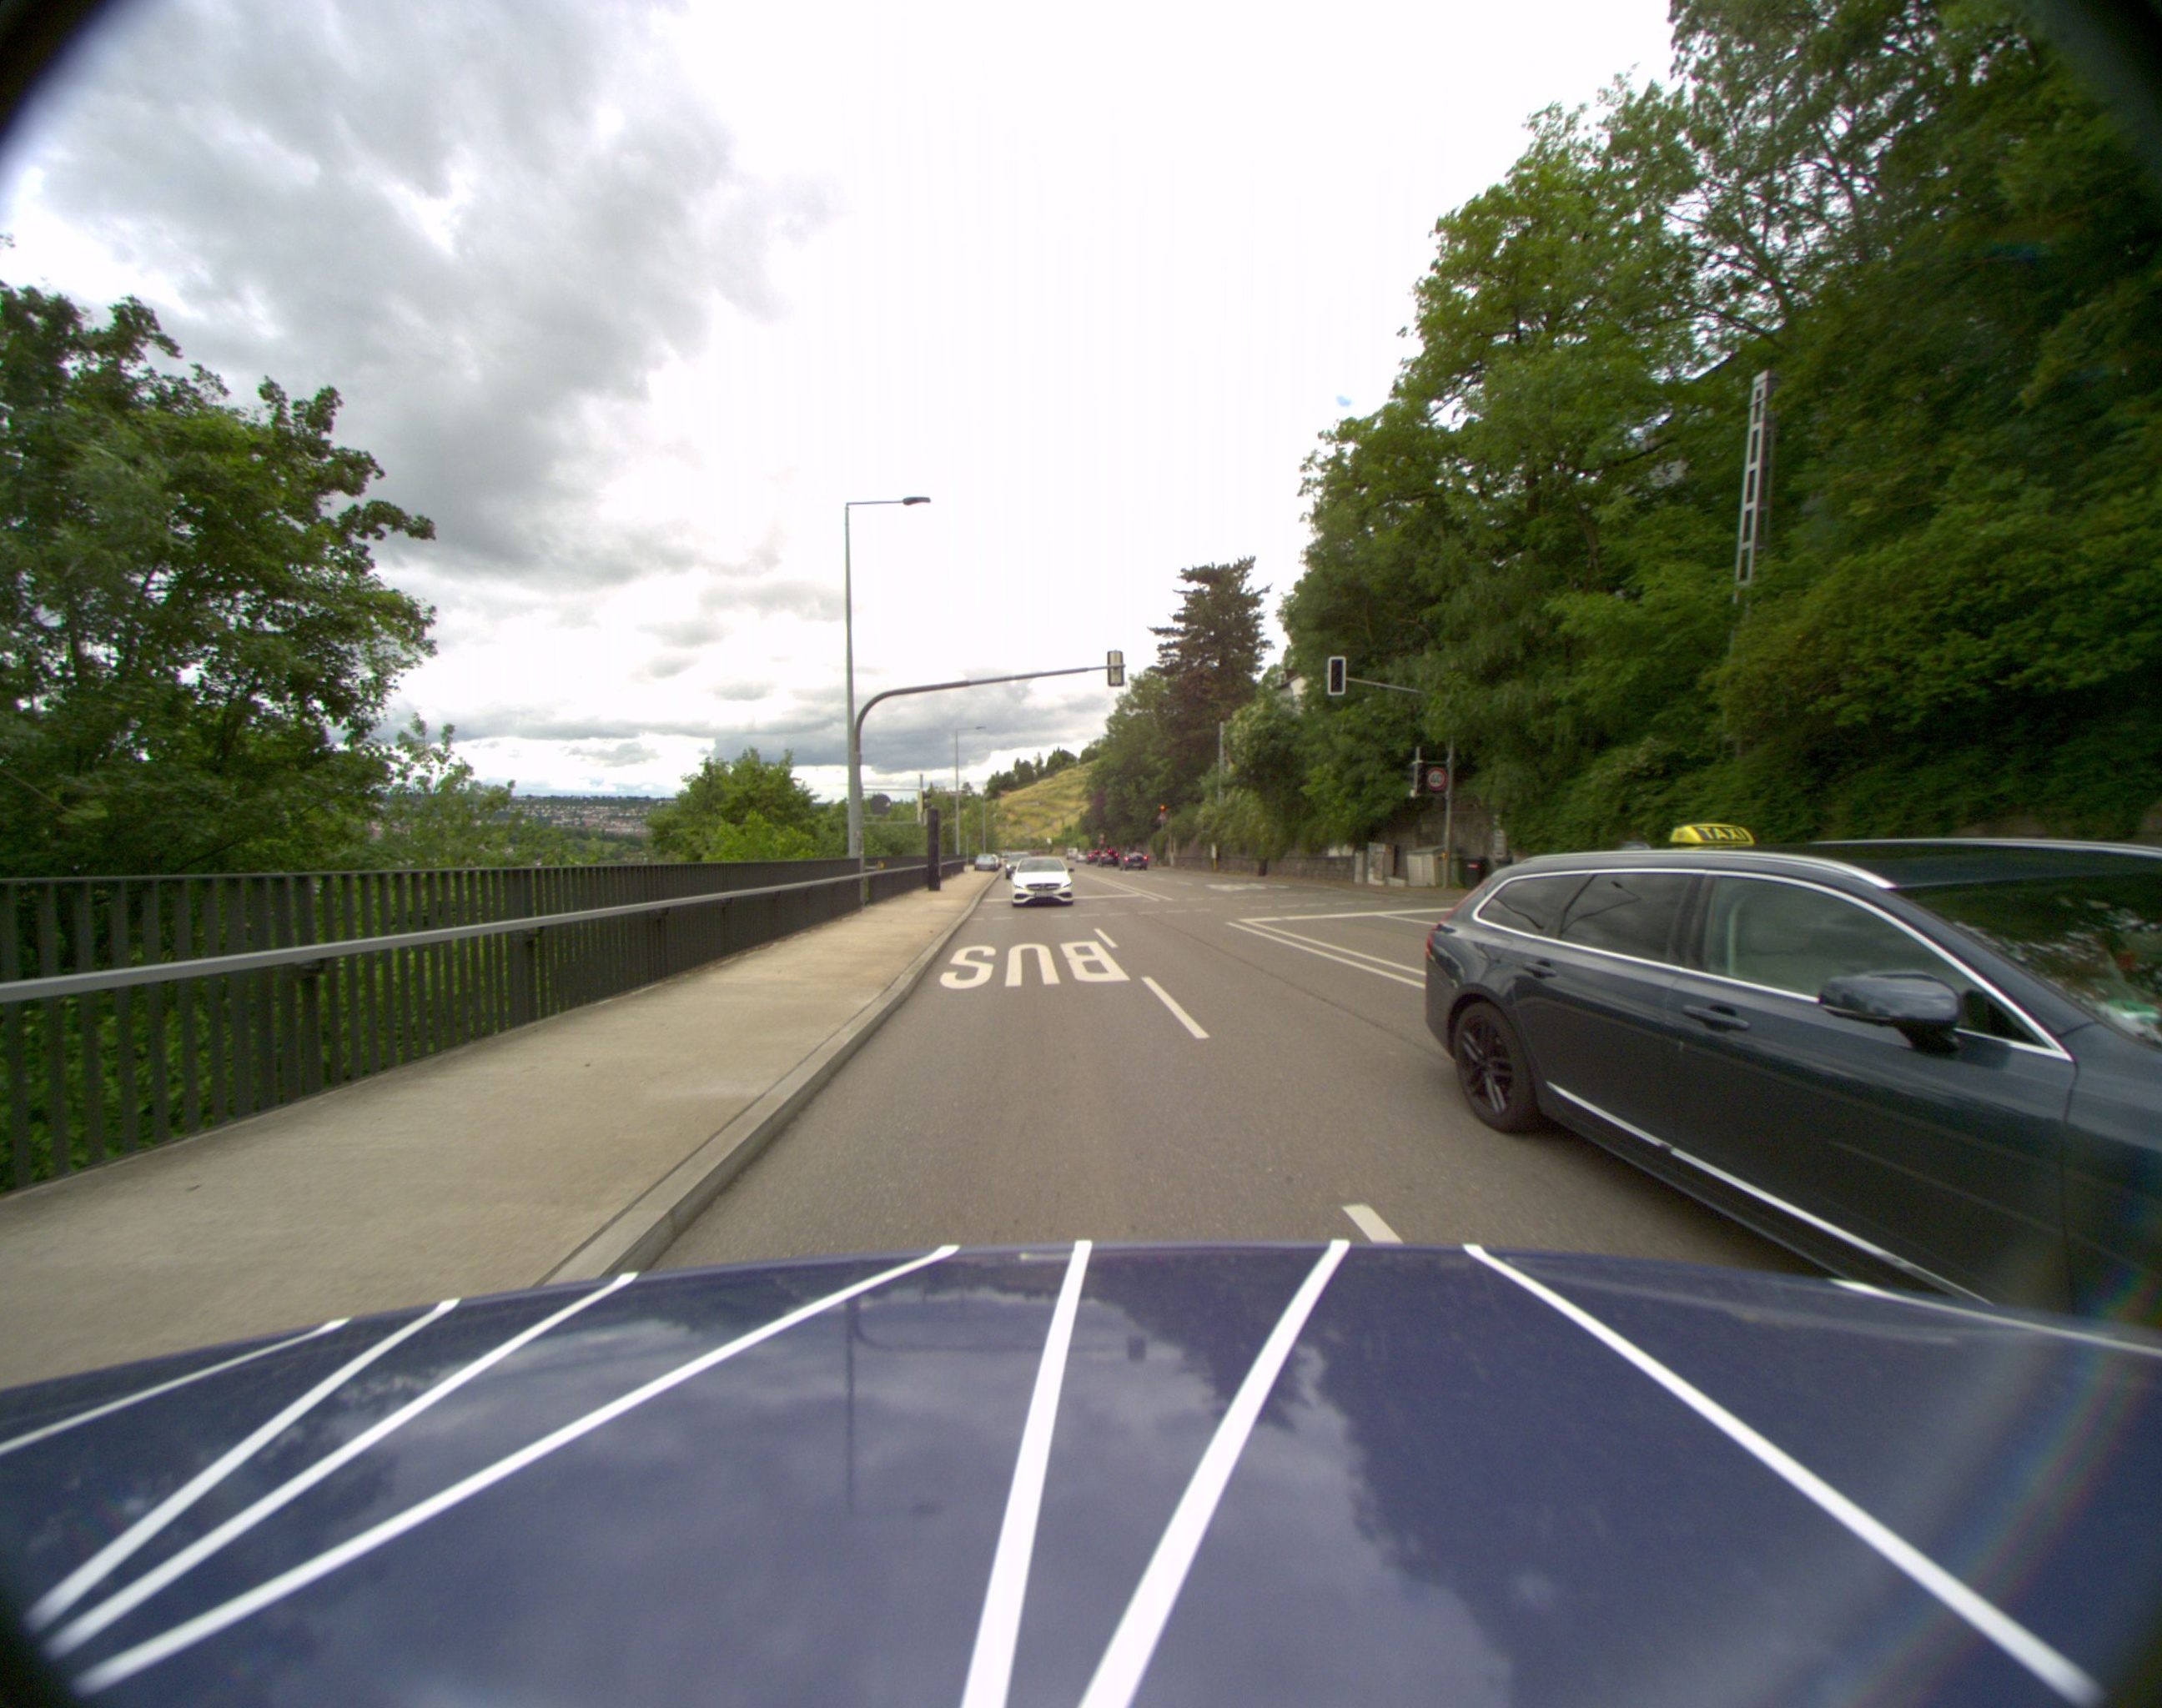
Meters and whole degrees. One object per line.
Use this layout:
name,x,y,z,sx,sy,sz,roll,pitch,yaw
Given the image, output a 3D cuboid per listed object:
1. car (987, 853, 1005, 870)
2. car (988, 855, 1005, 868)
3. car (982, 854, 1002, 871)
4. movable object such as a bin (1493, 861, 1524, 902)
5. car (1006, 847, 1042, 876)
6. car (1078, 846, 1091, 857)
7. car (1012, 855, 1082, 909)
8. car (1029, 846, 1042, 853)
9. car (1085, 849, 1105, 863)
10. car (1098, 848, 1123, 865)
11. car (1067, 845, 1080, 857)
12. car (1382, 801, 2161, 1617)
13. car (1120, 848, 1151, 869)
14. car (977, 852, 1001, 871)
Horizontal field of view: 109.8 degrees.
car,-8.579,0.749,77.282,1.664,1.563,4.253,1,0,-5
car,-9.521,0.784,86.136,1.828,1.393,4.316,1,0,-6
car,-8.358,0.766,71.669,1.732,1.559,4.621,0,1,-5
movable object such as a bin,10.319,0.666,18.349,0.428,0.944,0.478,-3,1,-6
car,-3.519,0.417,47.101,1.999,1.580,3.998,-3,1,-4
car,0.497,-0.358,103.224,1.680,1.433,4.233,-3,0,0
car,-1.057,0.821,23.513,1.903,1.418,4.265,-3,-1,-3
car,-11.463,-1.198,191.937,1.823,1.687,4.461,-2,1,-23
car,1.662,0.229,89.717,1.947,1.540,4.246,-1,1,-4
car,2.838,0.220,73.917,1.786,1.473,4.209,-3,0,-5
car,-1.314,-0.586,134.325,1.927,1.993,5.353,-2,0,-4
car,3.004,0.647,2.341,1.940,1.567,5.025,-3,1,-2
car,4.115,0.277,57.937,1.818,1.426,4.247,-3,1,-3
car,-7.870,0.602,65.239,1.762,1.535,4.425,1,0,-5
